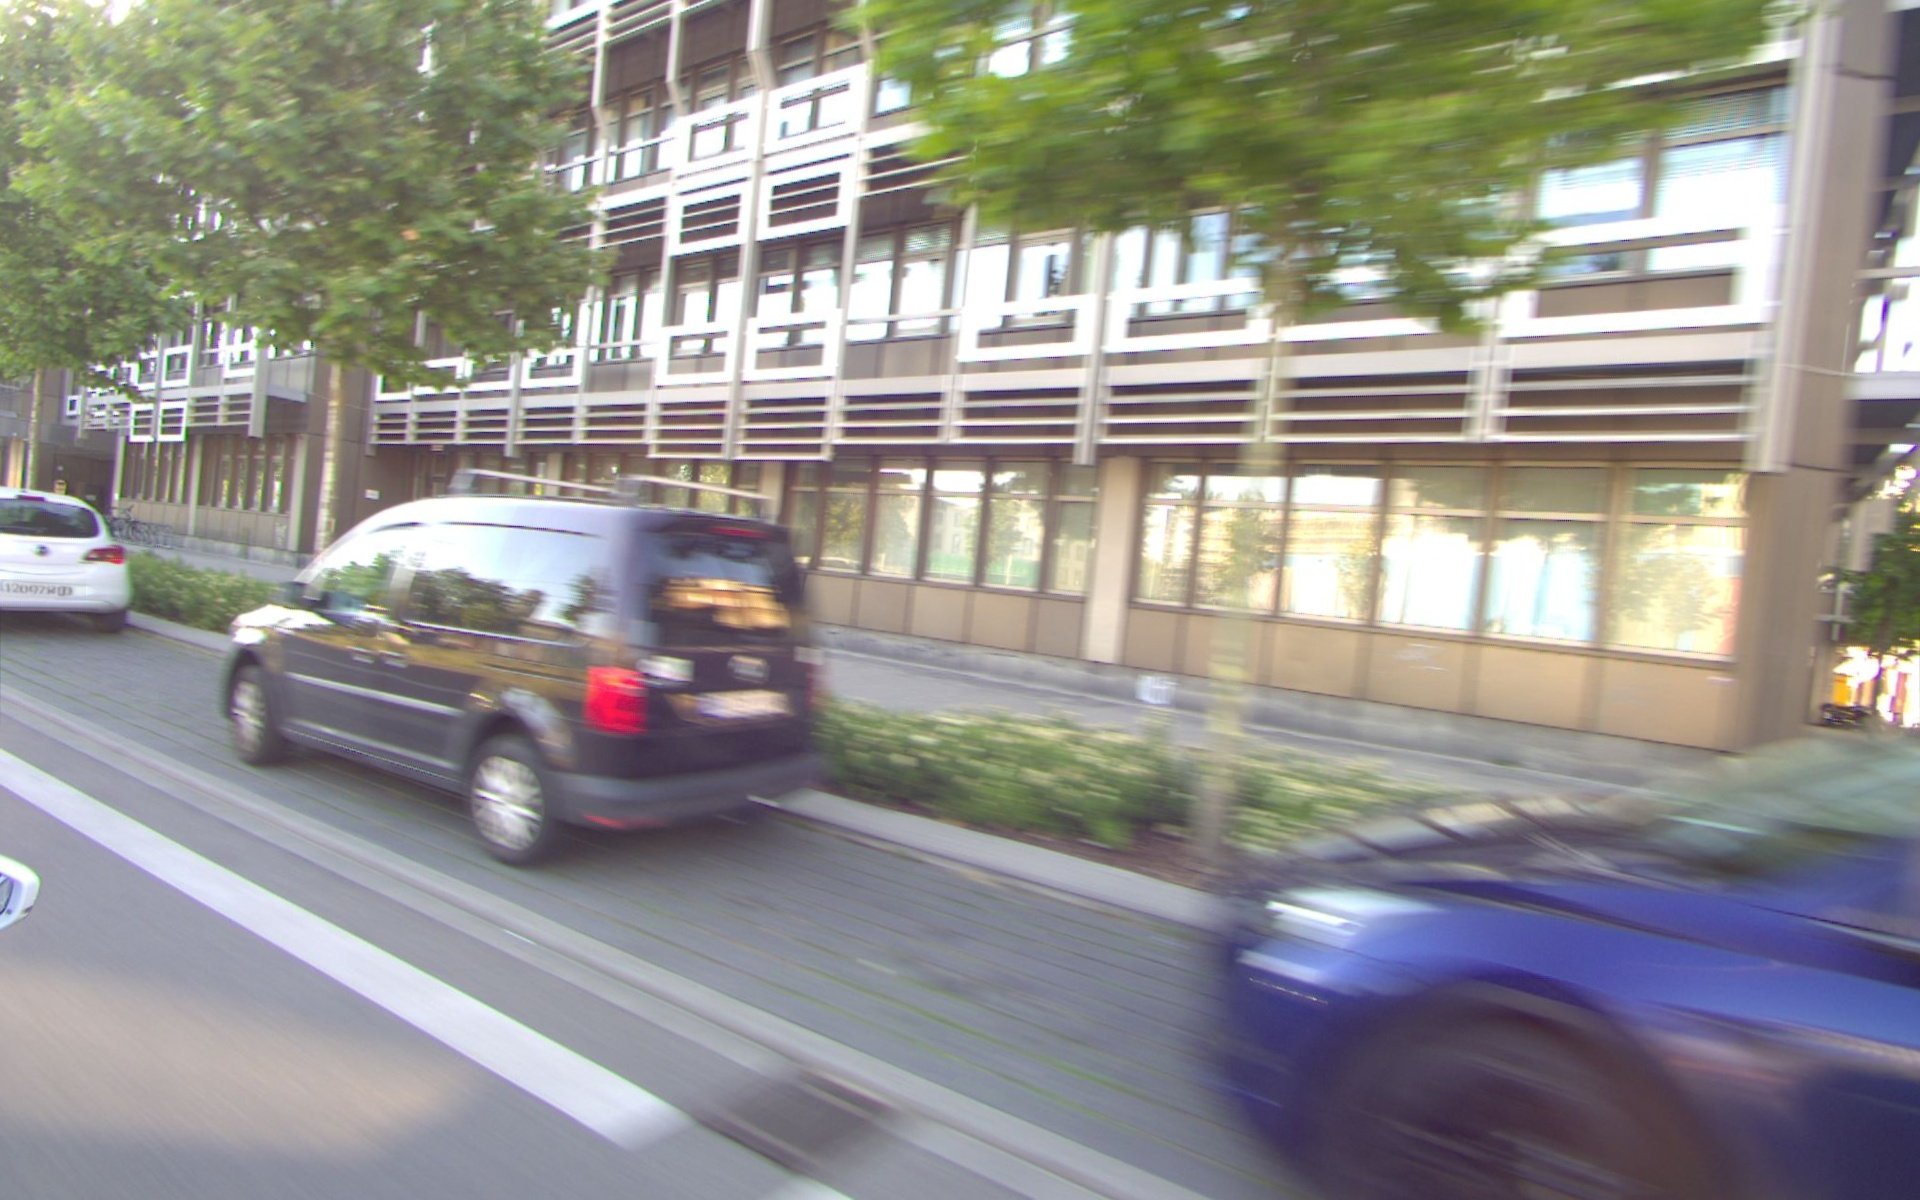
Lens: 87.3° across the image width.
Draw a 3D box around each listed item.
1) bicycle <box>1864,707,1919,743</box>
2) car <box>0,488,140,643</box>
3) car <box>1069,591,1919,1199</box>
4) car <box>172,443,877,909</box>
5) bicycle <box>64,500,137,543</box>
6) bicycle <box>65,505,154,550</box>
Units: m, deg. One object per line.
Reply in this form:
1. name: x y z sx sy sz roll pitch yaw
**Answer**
1. bicycle: 34.234 4.565 36.589 0.577 1.056 1.916 6 1 -15
2. car: -11.100 -0.513 11.406 4.136 1.510 1.663 7 3 34
3. car: 2.836 1.036 2.428 4.617 1.620 1.933 7 3 27
4. car: -2.837 0.184 6.202 4.320 1.945 1.735 7 3 31
5. bicycle: -26.256 -2.389 30.756 0.386 1.096 1.626 7 2 36
6. bicycle: -24.593 -2.087 29.128 0.385 1.107 1.901 7 2 28
